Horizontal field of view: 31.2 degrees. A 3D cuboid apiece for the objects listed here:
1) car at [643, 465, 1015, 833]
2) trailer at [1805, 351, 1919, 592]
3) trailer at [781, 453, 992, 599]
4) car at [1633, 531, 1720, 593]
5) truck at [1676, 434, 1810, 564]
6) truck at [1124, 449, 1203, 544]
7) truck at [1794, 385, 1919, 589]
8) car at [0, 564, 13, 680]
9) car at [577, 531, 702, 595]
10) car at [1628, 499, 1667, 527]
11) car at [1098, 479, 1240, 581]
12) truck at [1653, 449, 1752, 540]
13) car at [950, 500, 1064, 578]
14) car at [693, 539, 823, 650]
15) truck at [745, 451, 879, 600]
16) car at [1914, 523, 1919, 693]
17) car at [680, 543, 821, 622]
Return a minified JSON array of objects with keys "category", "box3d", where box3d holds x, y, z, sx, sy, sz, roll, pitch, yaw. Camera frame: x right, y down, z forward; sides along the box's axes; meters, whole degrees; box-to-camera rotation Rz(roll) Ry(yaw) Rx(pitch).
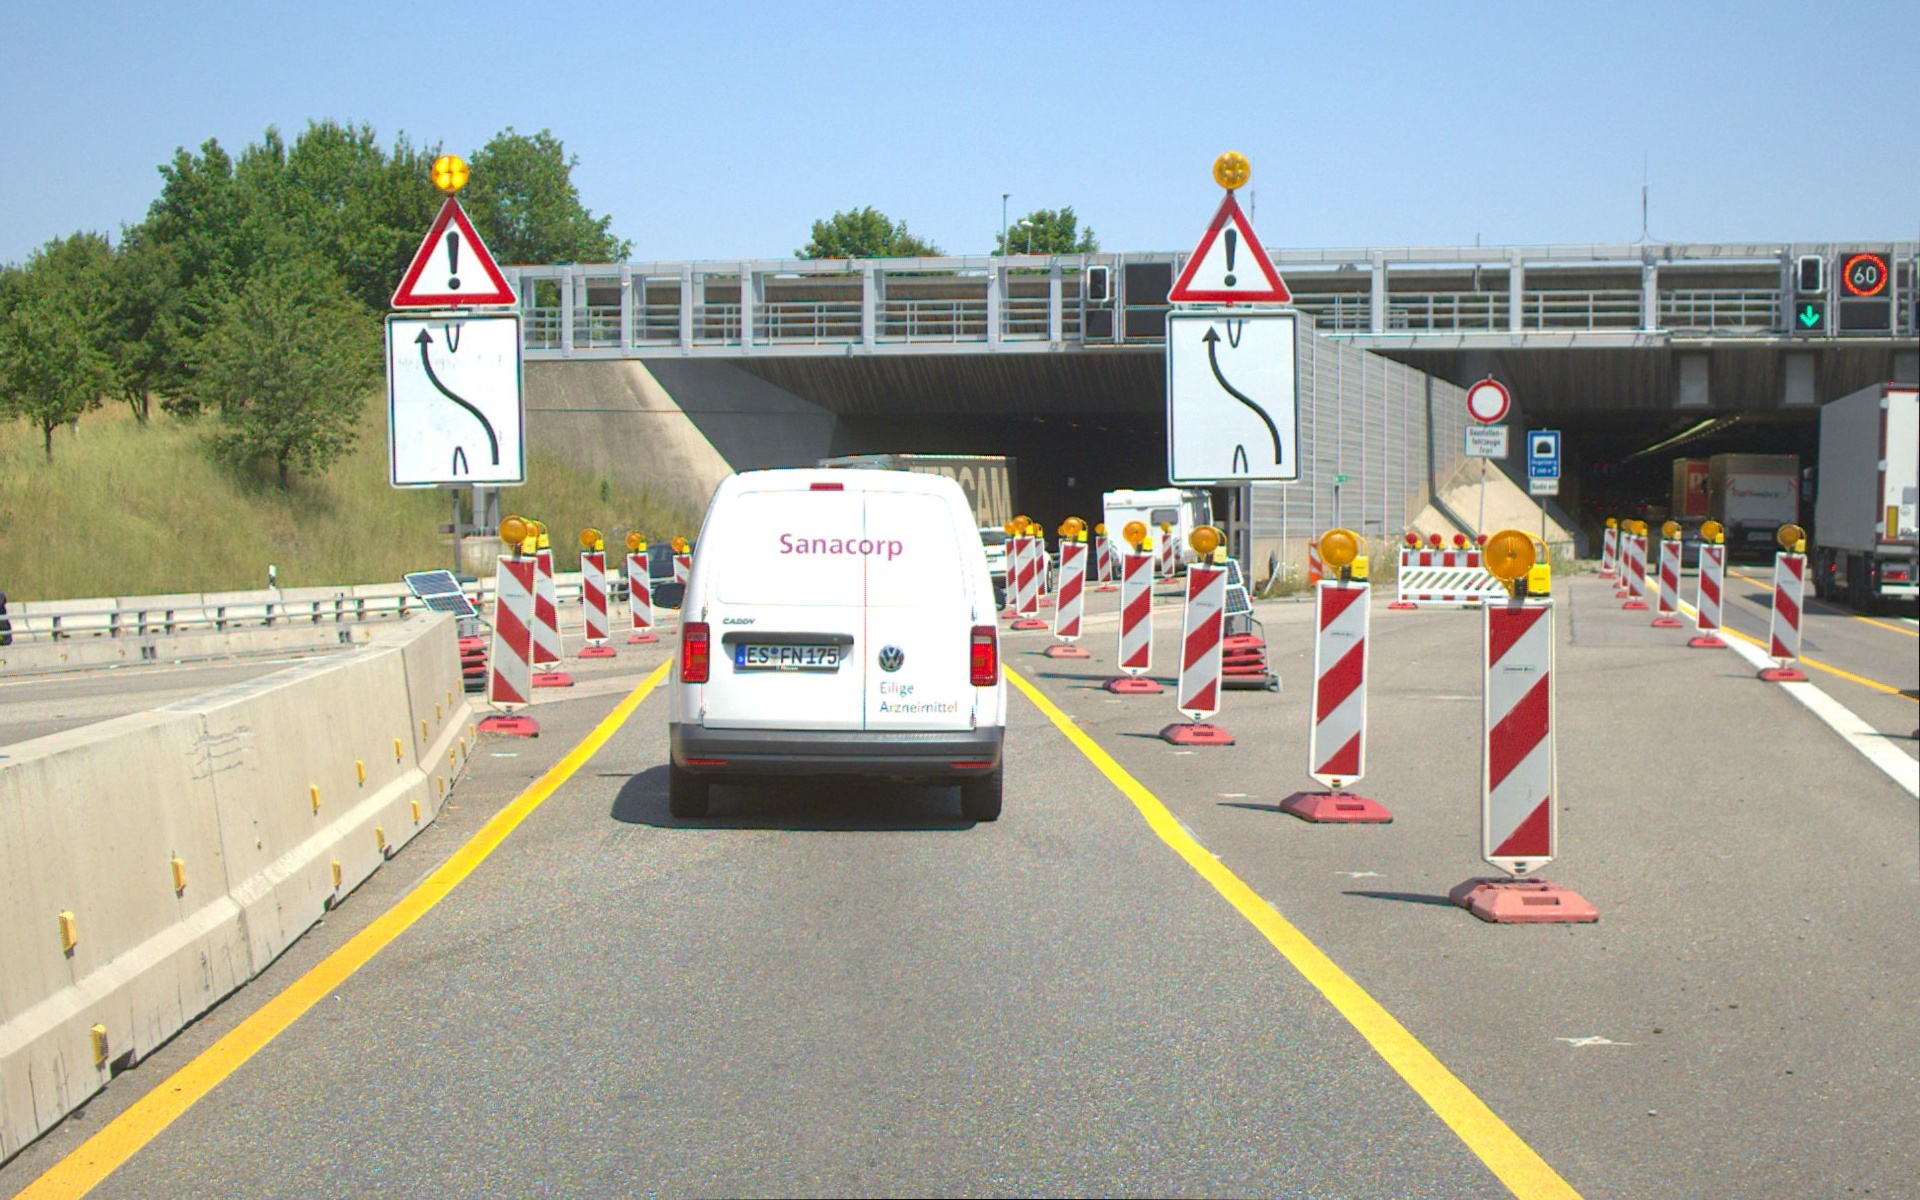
[{"category":"car","box3d":[-0.670,0.208,18.726,1.808,1.788,3.731,-1,1,-1]},{"category":"trailer","box3d":[17.906,-2.220,64.667,2.733,4.048,14.090,2,1,9]},{"category":"trailer","box3d":[-2.123,-2.319,108.053,2.437,4.282,13.798,0,1,17]},{"category":"car","box3d":[19.715,-1.058,94.723,1.815,1.624,4.189,2,1,5]},{"category":"truck","box3d":[29.166,-3.635,128.821,3.403,4.320,16.531,2,0,8]},{"category":"truck","box3d":[9.068,-4.579,152.890,2.336,4.094,5.013,0,1,17]},{"category":"truck","box3d":[19.063,-2.290,71.575,2.746,4.019,5.924,2,1,9]},{"category":"car","box3d":[-14.839,0.341,46.864,1.717,1.618,4.167,0,1,18]},{"category":"car","box3d":[-7.635,-0.900,82.195,1.717,1.486,3.685,0,1,17]},{"category":"car","box3d":[47.537,-5.995,237.730,2.332,1.832,4.542,2,1,8]},{"category":"car","box3d":[6.075,-1.970,98.895,2.815,2.764,7.096,-1,0,14]},{"category":"truck","box3d":[36.091,-5.050,167.700,3.403,4.057,16.531,2,1,8]},{"category":"car","box3d":[1.121,-1.421,79.567,1.809,1.745,4.407,0,1,12]},{"category":"car","box3d":[-2.988,-0.114,50.450,1.808,1.532,4.410,-1,1,-4]},{"category":"truck","box3d":[-4.297,-2.170,100.821,2.433,4.255,4.835,0,1,17]},{"category":"car","box3d":[9.897,0.127,31.028,1.815,1.637,4.651,2,1,8]},{"category":"car","box3d":[-4.705,-0.416,77.719,1.699,1.724,4.447,0,1,18]}]
